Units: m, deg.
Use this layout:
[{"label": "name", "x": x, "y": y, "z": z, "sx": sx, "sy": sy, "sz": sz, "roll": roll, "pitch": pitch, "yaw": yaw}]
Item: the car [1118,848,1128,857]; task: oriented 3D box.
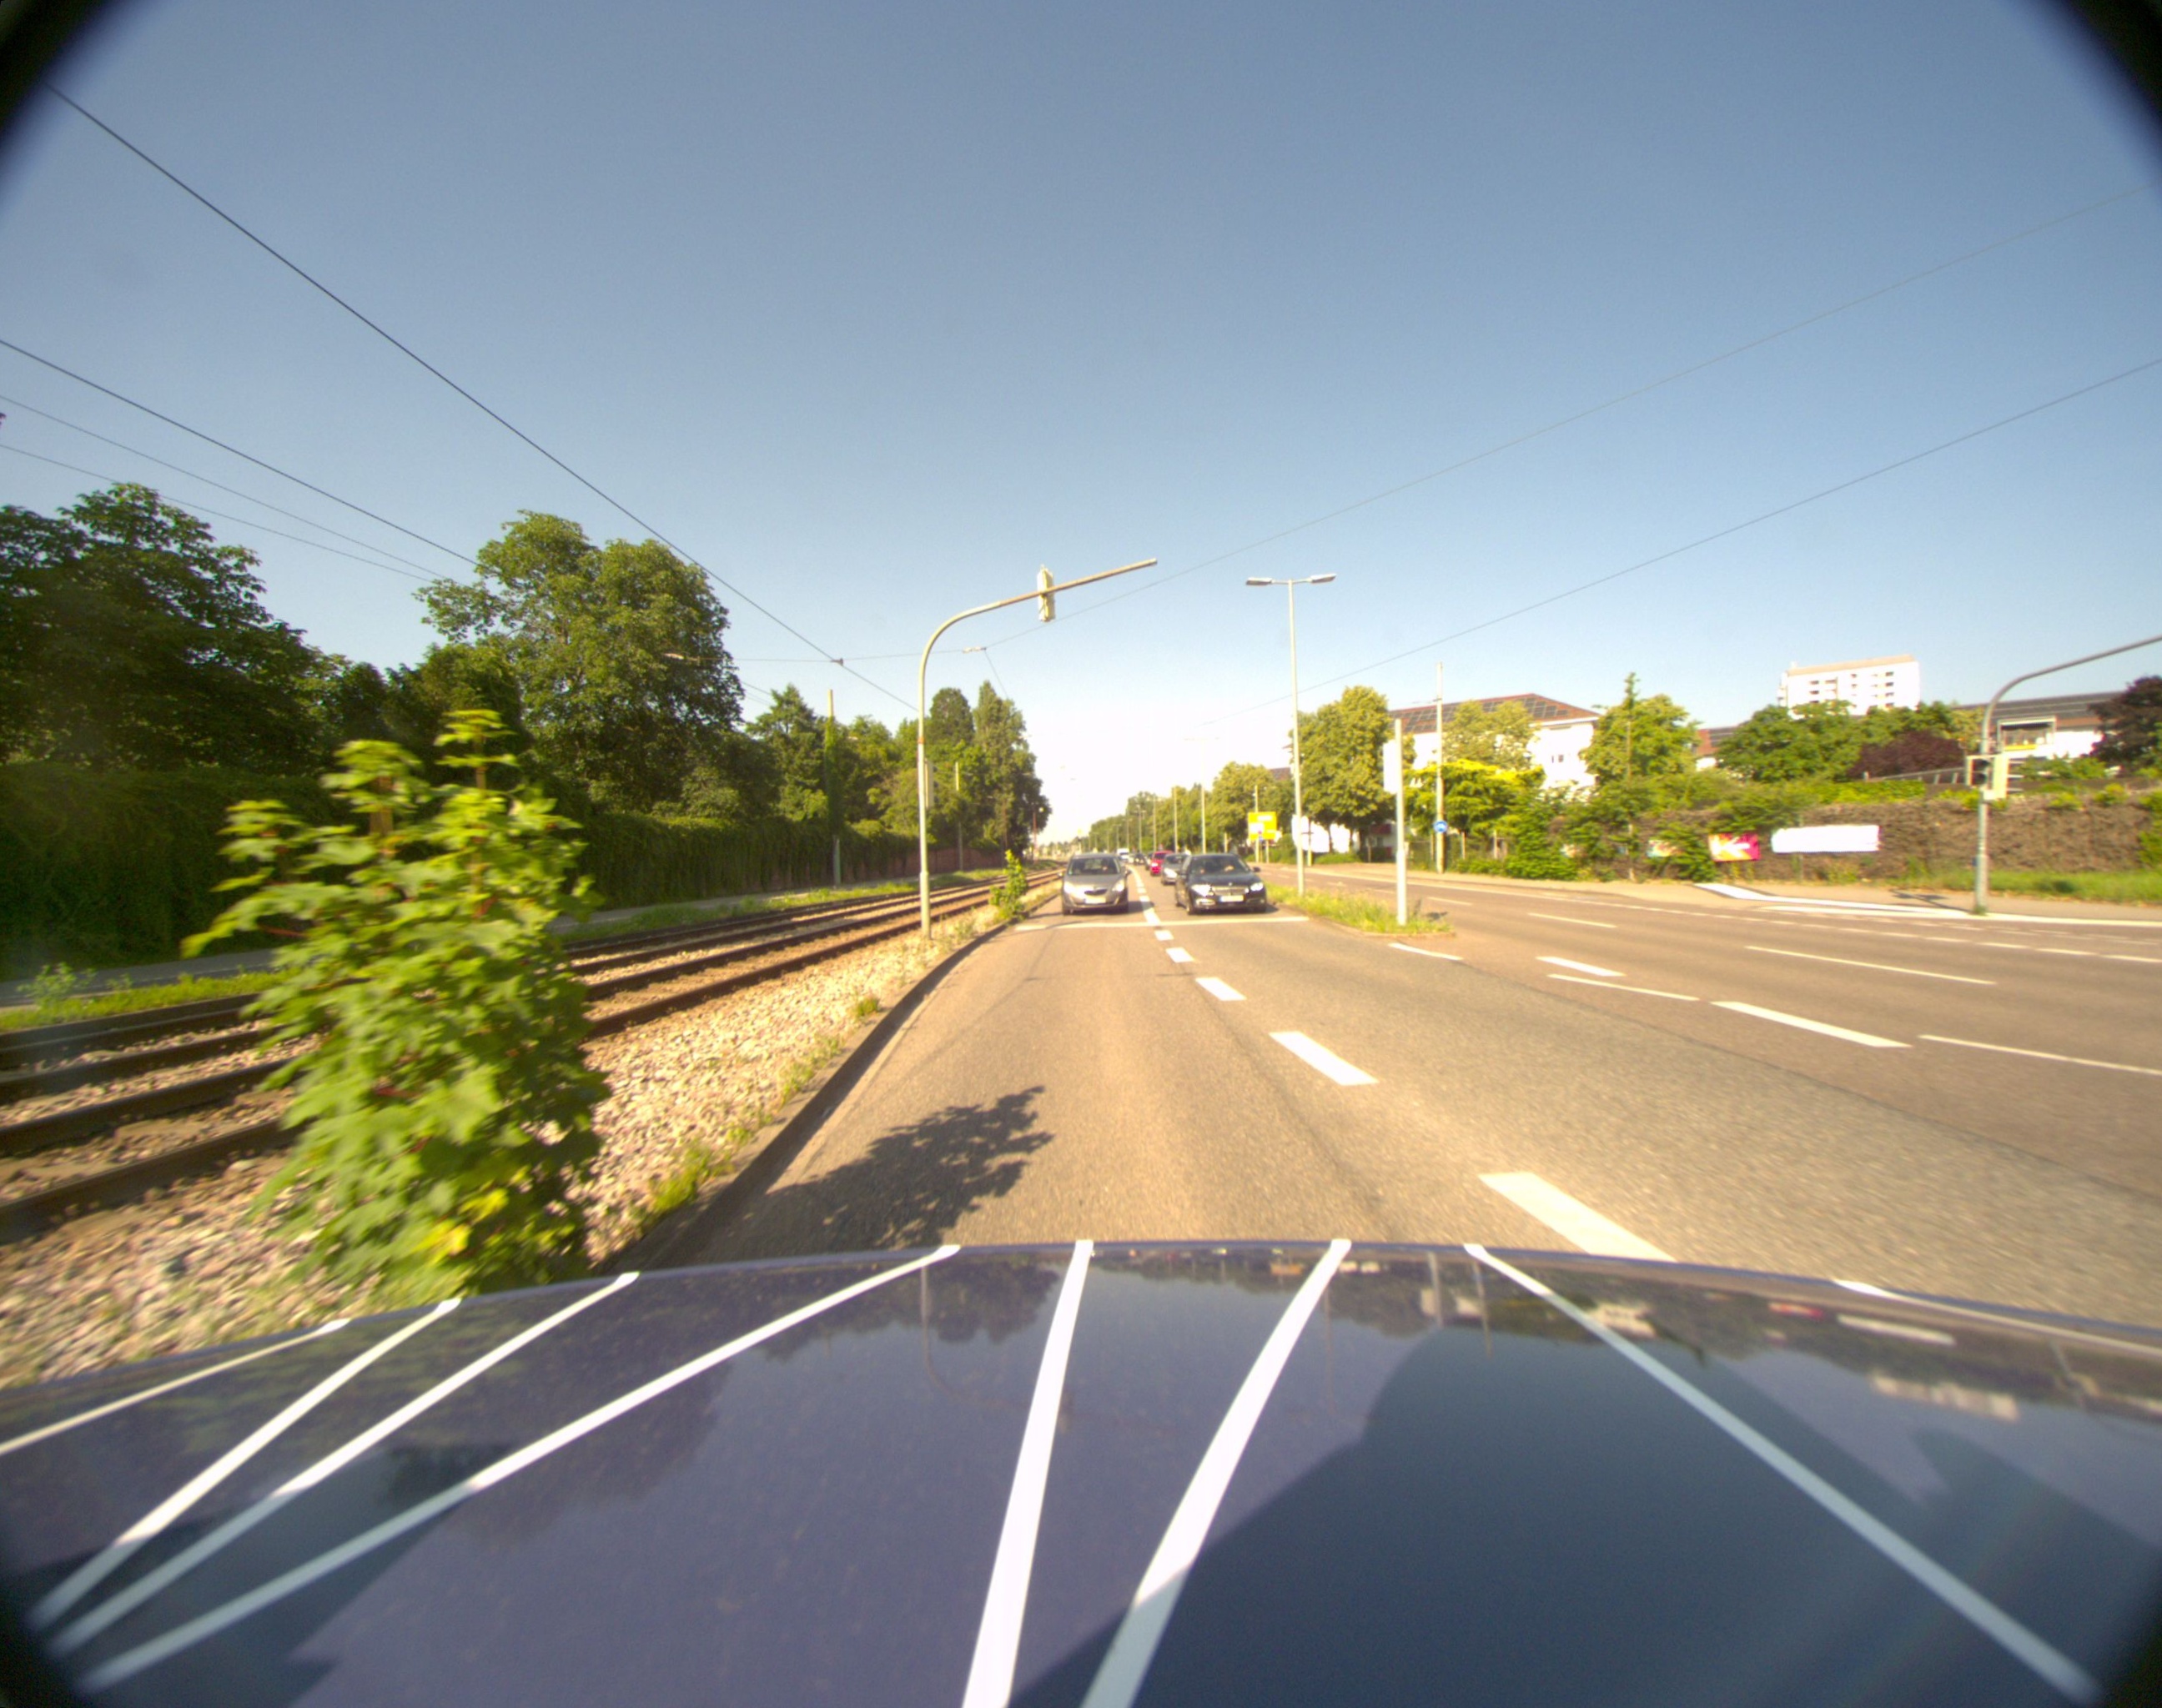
[{"label": "car", "x": 7.657, "y": -0.310, "z": 139.713, "sx": 1.709, "sy": 1.513, "sz": 3.833, "roll": -3, "pitch": 0, "yaw": 3}]

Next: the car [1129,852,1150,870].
[{"label": "car", "x": 5.322, "y": 0.622, "z": 69.016, "sx": 1.710, "sy": 1.513, "sz": 3.833, "roll": -3, "pitch": 0, "yaw": 2}]

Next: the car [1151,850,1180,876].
[{"label": "car", "x": 5.556, "y": 0.553, "z": 50.123, "sx": 1.692, "sy": 1.573, "sz": 3.834, "roll": -3, "pitch": 0, "yaw": 4}]

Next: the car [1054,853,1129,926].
[{"label": "car", "x": 0.358, "y": 0.815, "z": 19.316, "sx": 1.650, "sy": 1.581, "sz": 3.834, "roll": -3, "pitch": 0, "yaw": 3}]

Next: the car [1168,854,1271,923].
[{"label": "car", "x": 3.417, "y": 0.783, "z": 19.562, "sx": 1.764, "sy": 1.477, "sz": 4.645, "roll": -3, "pitch": 0, "yaw": 0}]

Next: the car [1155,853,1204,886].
[{"label": "car", "x": 4.606, "y": 0.699, "z": 35.998, "sx": 1.693, "sy": 1.420, "sz": 3.833, "roll": -3, "pitch": 0, "yaw": -1}]

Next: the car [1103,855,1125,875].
[{"label": "car", "x": 2.678, "y": 0.912, "z": 62.573, "sx": 1.710, "sy": 1.513, "sz": 3.833, "roll": -3, "pitch": 0, "yaw": 1}]

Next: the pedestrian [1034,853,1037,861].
[{"label": "pedestrian", "x": -10.452, "y": 0.677, "z": 173.256, "sx": 0.501, "sy": 1.706, "sz": 0.885, "roll": -1, "pitch": 0, "yaw": 4}]
